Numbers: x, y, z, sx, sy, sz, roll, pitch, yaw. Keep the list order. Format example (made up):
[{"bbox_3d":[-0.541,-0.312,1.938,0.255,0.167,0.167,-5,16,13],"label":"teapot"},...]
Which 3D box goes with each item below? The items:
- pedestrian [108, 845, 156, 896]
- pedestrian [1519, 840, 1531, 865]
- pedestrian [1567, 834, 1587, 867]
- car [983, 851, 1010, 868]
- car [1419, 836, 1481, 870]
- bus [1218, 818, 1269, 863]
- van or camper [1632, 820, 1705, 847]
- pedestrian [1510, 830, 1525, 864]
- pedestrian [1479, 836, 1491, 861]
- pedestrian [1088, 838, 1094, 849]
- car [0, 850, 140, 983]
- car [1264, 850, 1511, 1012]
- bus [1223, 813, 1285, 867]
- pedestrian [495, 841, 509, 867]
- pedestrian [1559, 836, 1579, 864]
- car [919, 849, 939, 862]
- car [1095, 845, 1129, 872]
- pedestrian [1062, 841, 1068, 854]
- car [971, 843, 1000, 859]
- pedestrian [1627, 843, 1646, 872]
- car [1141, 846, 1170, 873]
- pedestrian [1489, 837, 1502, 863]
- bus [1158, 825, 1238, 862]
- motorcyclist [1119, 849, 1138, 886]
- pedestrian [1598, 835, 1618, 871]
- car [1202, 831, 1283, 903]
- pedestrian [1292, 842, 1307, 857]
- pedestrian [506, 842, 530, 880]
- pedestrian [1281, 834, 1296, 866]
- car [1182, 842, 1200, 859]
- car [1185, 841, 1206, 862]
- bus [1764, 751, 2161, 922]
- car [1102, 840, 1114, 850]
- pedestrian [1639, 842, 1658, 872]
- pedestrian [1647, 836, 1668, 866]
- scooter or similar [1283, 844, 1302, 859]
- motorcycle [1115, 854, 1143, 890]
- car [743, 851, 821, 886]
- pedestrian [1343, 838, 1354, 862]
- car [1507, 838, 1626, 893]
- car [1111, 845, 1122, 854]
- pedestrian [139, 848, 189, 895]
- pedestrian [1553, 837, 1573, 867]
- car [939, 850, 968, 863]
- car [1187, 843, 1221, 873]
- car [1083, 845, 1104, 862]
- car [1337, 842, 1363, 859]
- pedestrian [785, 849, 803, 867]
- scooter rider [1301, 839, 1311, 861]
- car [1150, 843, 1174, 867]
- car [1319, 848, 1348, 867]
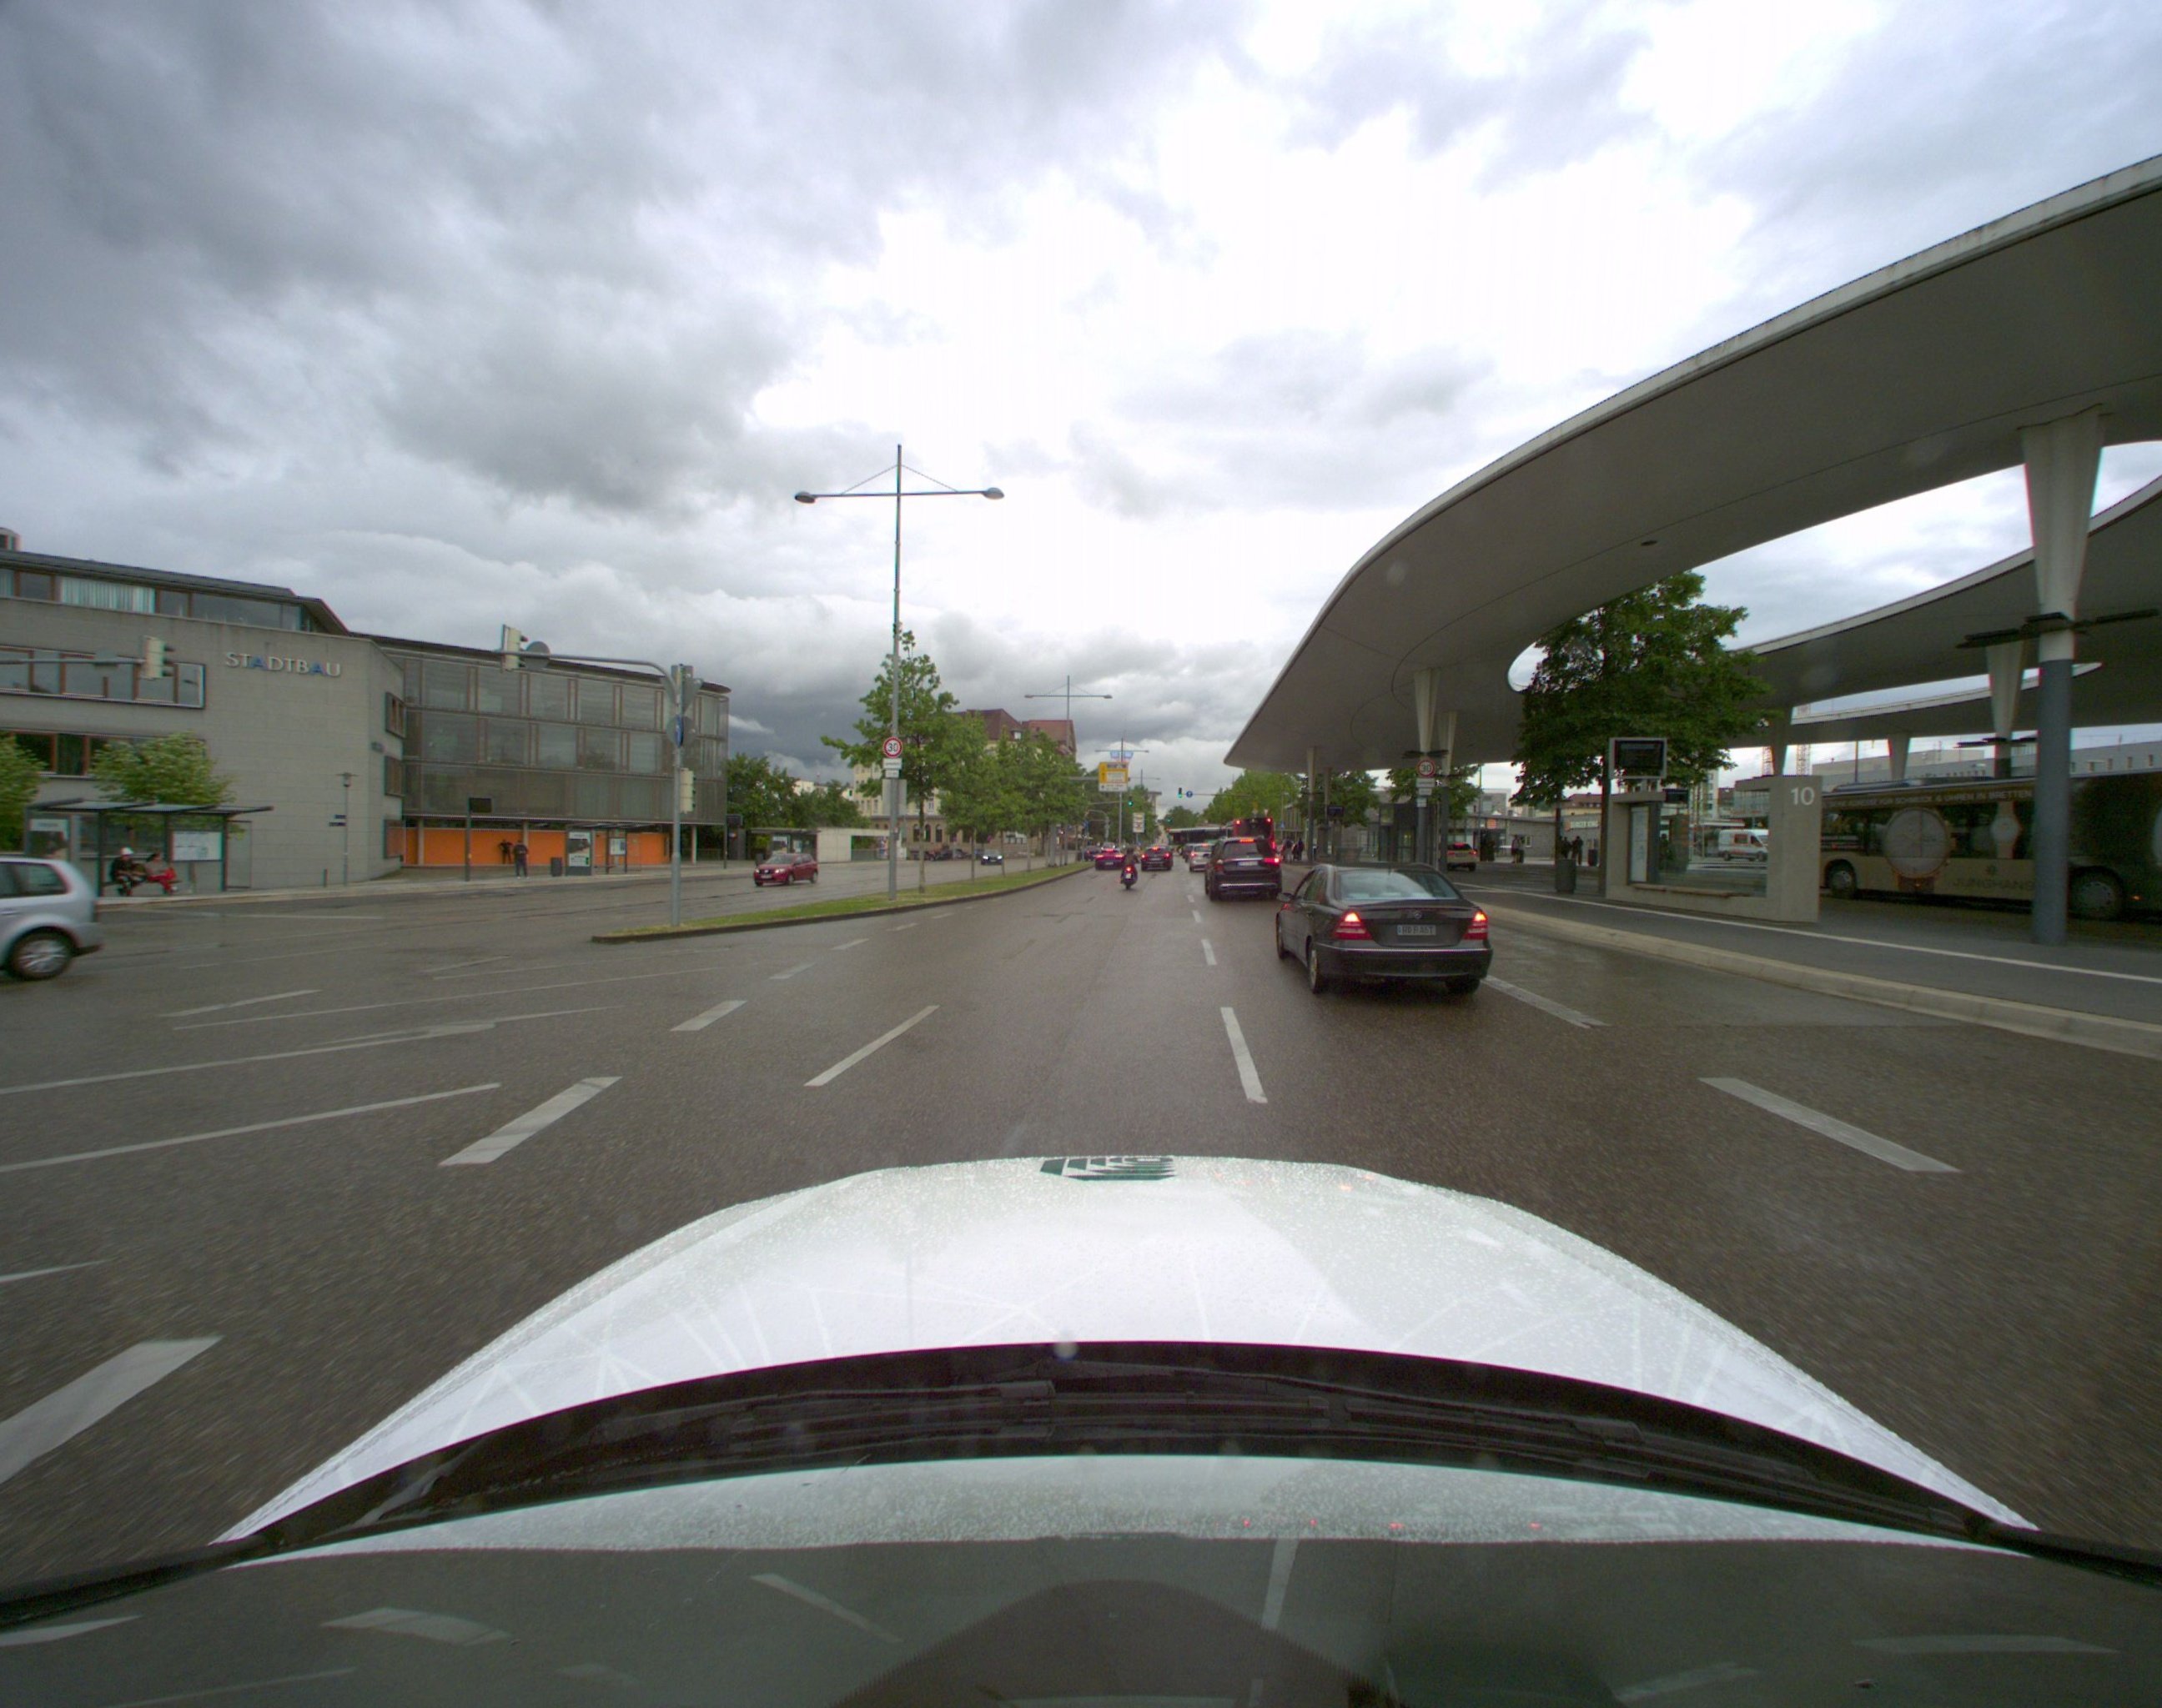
[{"bbox_3d":[-27.648,0.486,23.732,0.675,1.469,0.626,0,0,4],"label":"pedestrian"},{"bbox_3d":[29.148,-0.087,53.464,0.574,1.578,0.564,1,-4,41],"label":"pedestrian"},{"bbox_3d":[27.273,-0.201,44.755,0.703,1.707,0.771,-4,2,19],"label":"pedestrian"},{"bbox_3d":[-7.892,0.465,76.382,1.673,1.528,4.645,-1,0,4],"label":"car"},{"bbox_3d":[19.512,-0.072,43.247,1.703,1.662,4.246,1,1,5],"label":"car"},{"bbox_3d":[12.748,-1.033,64.545,3.273,3.289,8.867,-1,1,7],"label":"bus"},{"bbox_3d":[49.808,-1.736,69.163,4.667,2.269,2.112,0,0,2],"label":"van or camper"},{"bbox_3d":[26.874,-0.414,50.111,0.716,2.014,0.674,2,-3,32],"label":"pedestrian"},{"bbox_3d":[26.851,-0.374,54.181,0.573,1.578,0.565,2,-4,36],"label":"pedestrian"},{"bbox_3d":[1.835,-1.919,148.131,0.726,1.965,0.821,-1,0,-20],"label":"pedestrian"},{"bbox_3d":[-14.452,0.776,9.393,1.838,1.652,4.426,0,0,5],"label":"car"},{"bbox_3d":[3.355,0.718,9.808,1.689,1.462,4.310,-1,1,5],"label":"car"},{"bbox_3d":[11.629,-0.923,55.763,3.268,3.291,10.900,-1,1,7],"label":"bus"},{"bbox_3d":[-37.879,0.013,53.278,0.469,1.684,0.647,-1,0,37],"label":"pedestrian"},{"bbox_3d":[28.694,-0.231,47.896,0.582,1.578,0.767,5,-3,-26],"label":"pedestrian"},{"bbox_3d":[-21.007,0.206,112.403,1.669,1.604,3.221,-4,2,-30],"label":"car"},{"bbox_3d":[2.048,0.243,52.944,1.807,1.570,4.412,-2,1,6],"label":"car"},{"bbox_3d":[-2.568,-1.019,131.498,0.726,2.013,0.821,-1,0,-20],"label":"pedestrian"},{"bbox_3d":[-11.534,-0.356,97.780,1.878,1.684,3.960,5,-2,-31],"label":"car"},{"bbox_3d":[28.151,0.190,41.294,0.558,1.444,0.614,0,0,3],"label":"pedestrian"},{"bbox_3d":[4.579,0.288,49.477,1.567,1.504,3.879,-2,1,7],"label":"car"},{"bbox_3d":[27.678,-0.261,54.403,0.574,1.716,0.564,1,-4,41],"label":"pedestrian"},{"bbox_3d":[13.408,-1.165,95.066,2.854,3.987,11.755,0,0,-28],"label":"bus"},{"bbox_3d":[1.778,0.501,30.382,0.637,1.347,0.691,-1,0,9],"label":"motorcyclist"},{"bbox_3d":[25.186,-0.068,38.941,0.558,1.692,0.613,1,1,-1],"label":"pedestrian"},{"bbox_3d":[4.750,0.323,24.632,1.947,1.876,4.882,-2,1,6],"label":"car"},{"bbox_3d":[14.940,-0.306,55.700,0.905,0.985,0.637,1,-4,20],"label":"pedestrian"},{"bbox_3d":[-25.605,0.306,37.057,0.471,1.684,0.766,-1,0,13],"label":"pedestrian"},{"bbox_3d":[13.457,-0.256,52.796,0.771,2.014,0.785,3,-1,19],"label":"pedestrian"},{"bbox_3d":[10.684,-0.320,79.424,1.567,1.567,3.803,-2,1,6],"label":"car"},{"bbox_3d":[9.459,-0.227,67.600,1.567,1.567,3.878,-2,1,6],"label":"car"},{"bbox_3d":[21.038,-0.359,18.101,2.707,3.043,12.111,-1,0,6],"label":"bus"},{"bbox_3d":[4.668,-1.572,142.938,1.771,1.567,3.436,-2,1,6],"label":"car"},{"bbox_3d":[28.098,0.152,40.321,0.558,1.444,0.614,0,0,3],"label":"pedestrian"},{"bbox_3d":[27.724,-0.125,39.160,0.558,1.444,0.636,0,0,3],"label":"pedestrian"},{"bbox_3d":[14.514,-0.139,55.899,1.232,1.013,0.768,0,0,20],"label":"scooter or similar"},{"bbox_3d":[1.785,0.658,30.215,0.788,1.262,1.860,-2,0,10],"label":"motorcycle"},{"bbox_3d":[-14.259,0.650,39.134,1.812,1.552,4.041,-1,0,7],"label":"car"},{"bbox_3d":[18.847,-0.275,57.420,0.569,1.678,0.586,-1,-1,32],"label":"pedestrian"},{"bbox_3d":[13.678,0.274,23.134,1.639,1.453,3.242,0,1,4],"label":"car"},{"bbox_3d":[6.495,-0.863,149.091,1.567,1.567,3.436,-2,1,6],"label":"car"},{"bbox_3d":[-27.544,0.505,24.467,0.675,1.392,0.722,0,0,4],"label":"pedestrian"},{"bbox_3d":[25.511,-0.107,43.118,0.596,1.582,0.711,1,-2,-3],"label":"pedestrian"},{"bbox_3d":[-16.984,0.331,108.330,2.129,1.776,4.344,-1,0,-36],"label":"car"},{"bbox_3d":[6.965,0.199,46.560,1.732,1.567,3.878,-2,1,6],"label":"car"},{"bbox_3d":[1.204,-0.082,79.920,1.832,1.627,3.702,0,0,-3],"label":"car"},{"bbox_3d":[26.033,-0.370,78.955,1.534,1.560,3.411,1,1,2],"label":"car"},{"bbox_3d":[-22.288,0.303,63.245,0.967,1.267,0.855,4,2,27],"label":"pedestrian"},{"bbox_3d":[15.356,-0.291,55.616,0.586,1.490,0.768,0,0,20],"label":"scooter rider"},{"bbox_3d":[5.725,0.070,57.449,1.567,1.567,3.878,-2,1,6],"label":"car"},{"bbox_3d":[23.457,0.301,75.699,1.703,1.662,4.246,1,1,5],"label":"car"}]
